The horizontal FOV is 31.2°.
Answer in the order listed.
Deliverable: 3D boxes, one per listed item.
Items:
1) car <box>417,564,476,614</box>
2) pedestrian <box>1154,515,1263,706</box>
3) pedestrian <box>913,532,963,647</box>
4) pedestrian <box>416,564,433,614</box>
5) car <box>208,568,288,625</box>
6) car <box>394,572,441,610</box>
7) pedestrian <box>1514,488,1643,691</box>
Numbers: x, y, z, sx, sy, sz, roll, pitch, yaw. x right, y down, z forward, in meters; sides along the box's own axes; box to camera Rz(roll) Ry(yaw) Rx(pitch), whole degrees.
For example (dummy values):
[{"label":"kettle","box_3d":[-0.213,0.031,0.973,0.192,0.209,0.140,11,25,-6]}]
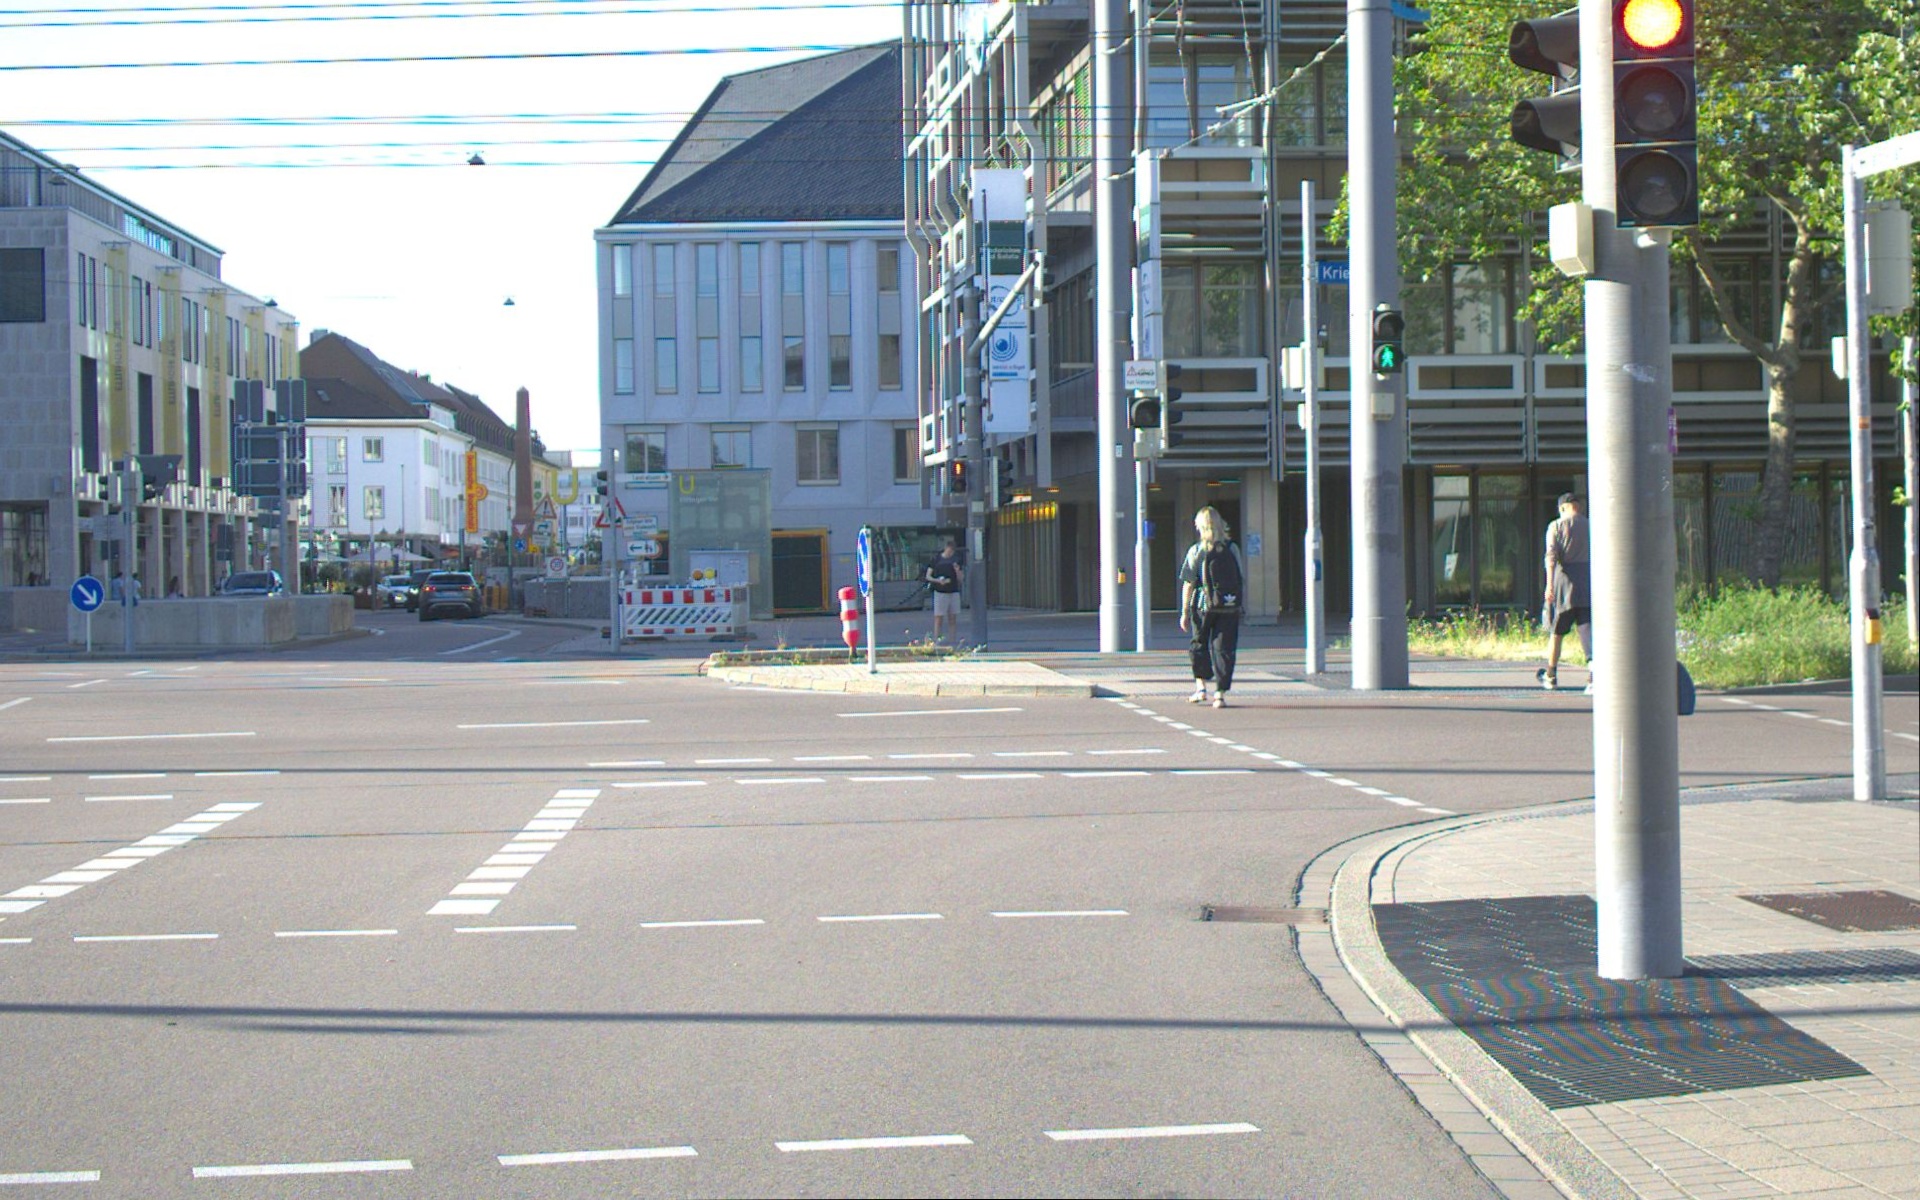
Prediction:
[{"label":"car","box_3d":[-16.137,-0.371,108.202,1.737,1.525,3.856,1,1,-7]},{"label":"pedestrian","box_3d":[1.964,0.079,27.205,0.788,1.487,0.644,1,0,-1]},{"label":"pedestrian","box_3d":[-0.368,-0.175,57.306,0.788,1.883,0.644,1,0,-1]},{"label":"pedestrian","box_3d":[-18.204,-0.367,116.898,0.521,1.674,0.583,1,1,-7]},{"label":"car","box_3d":[-21.170,-0.125,102.308,1.797,1.652,4.001,1,1,-4]},{"label":"car","box_3d":[-24.939,-0.426,158.052,1.797,1.652,4.001,1,1,-4]},{"label":"pedestrian","box_3d":[5.175,-0.091,28.814,0.878,1.659,0.965,1,0,-1]}]
